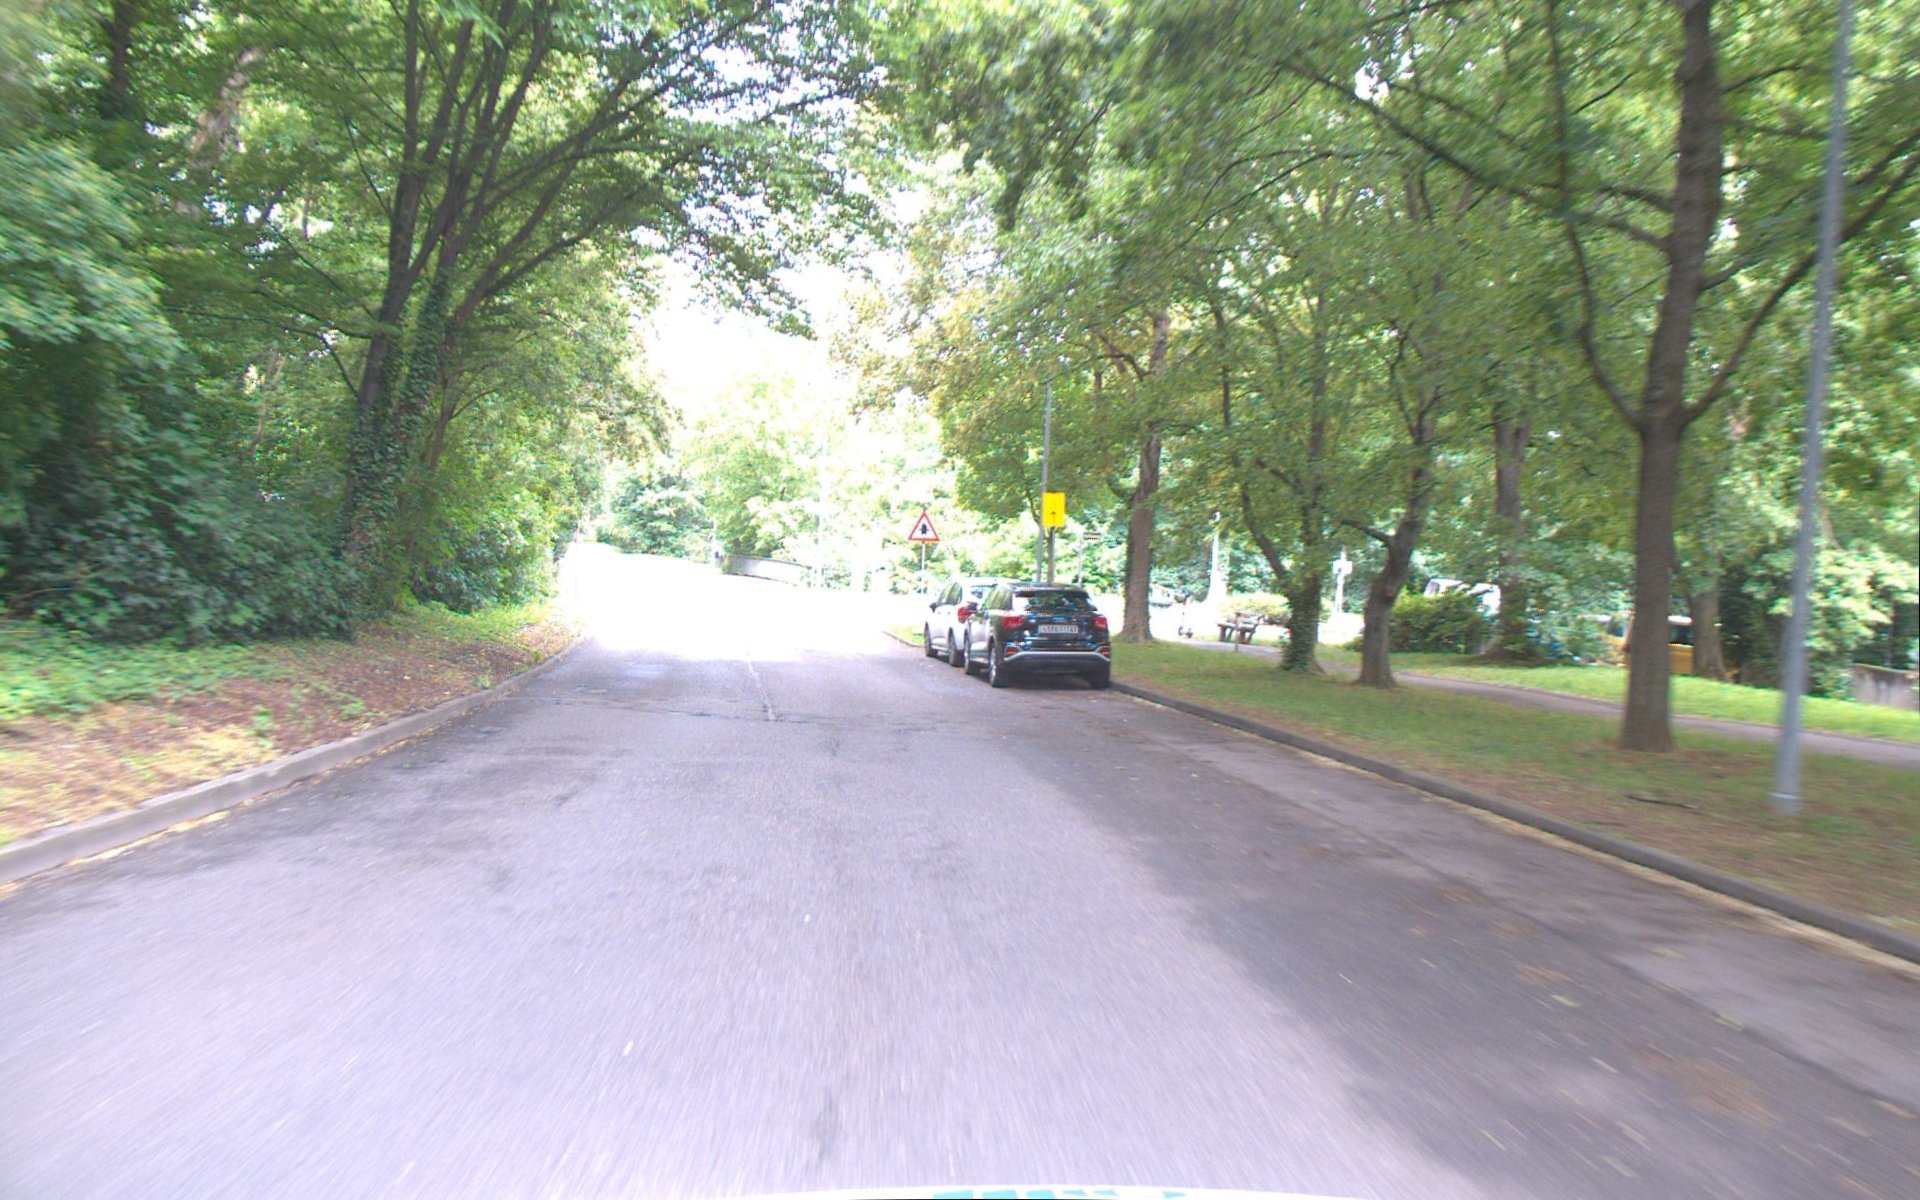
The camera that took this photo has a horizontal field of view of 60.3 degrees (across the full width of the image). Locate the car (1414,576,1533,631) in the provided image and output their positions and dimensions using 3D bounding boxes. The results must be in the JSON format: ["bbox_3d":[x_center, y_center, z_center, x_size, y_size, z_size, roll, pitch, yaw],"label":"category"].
[{"bbox_3d":[20.841,0.137,67.256,4.123,2.048,1.998,2,1,-5],"label":"car"}]

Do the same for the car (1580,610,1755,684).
[{"bbox_3d":[20.915,1.374,49.010,4.307,1.880,1.832,3,1,-1],"label":"car"}]

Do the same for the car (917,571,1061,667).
[{"bbox_3d":[0.456,0.292,30.019,1.743,1.549,3.769,2,1,-12],"label":"car"}]

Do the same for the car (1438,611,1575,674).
[{"bbox_3d":[16.202,1.231,49.151,3.443,1.597,1.833,3,1,3],"label":"car"}]

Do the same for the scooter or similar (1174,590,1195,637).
[{"bbox_3d":[6.423,0.374,47.410,0.277,1.309,1.106,3,1,-7],"label":"scooter or similar"}]

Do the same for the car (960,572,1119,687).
[{"bbox_3d":[1.136,0.395,25.663,1.740,1.549,4.177,2,1,-7],"label":"car"}]
